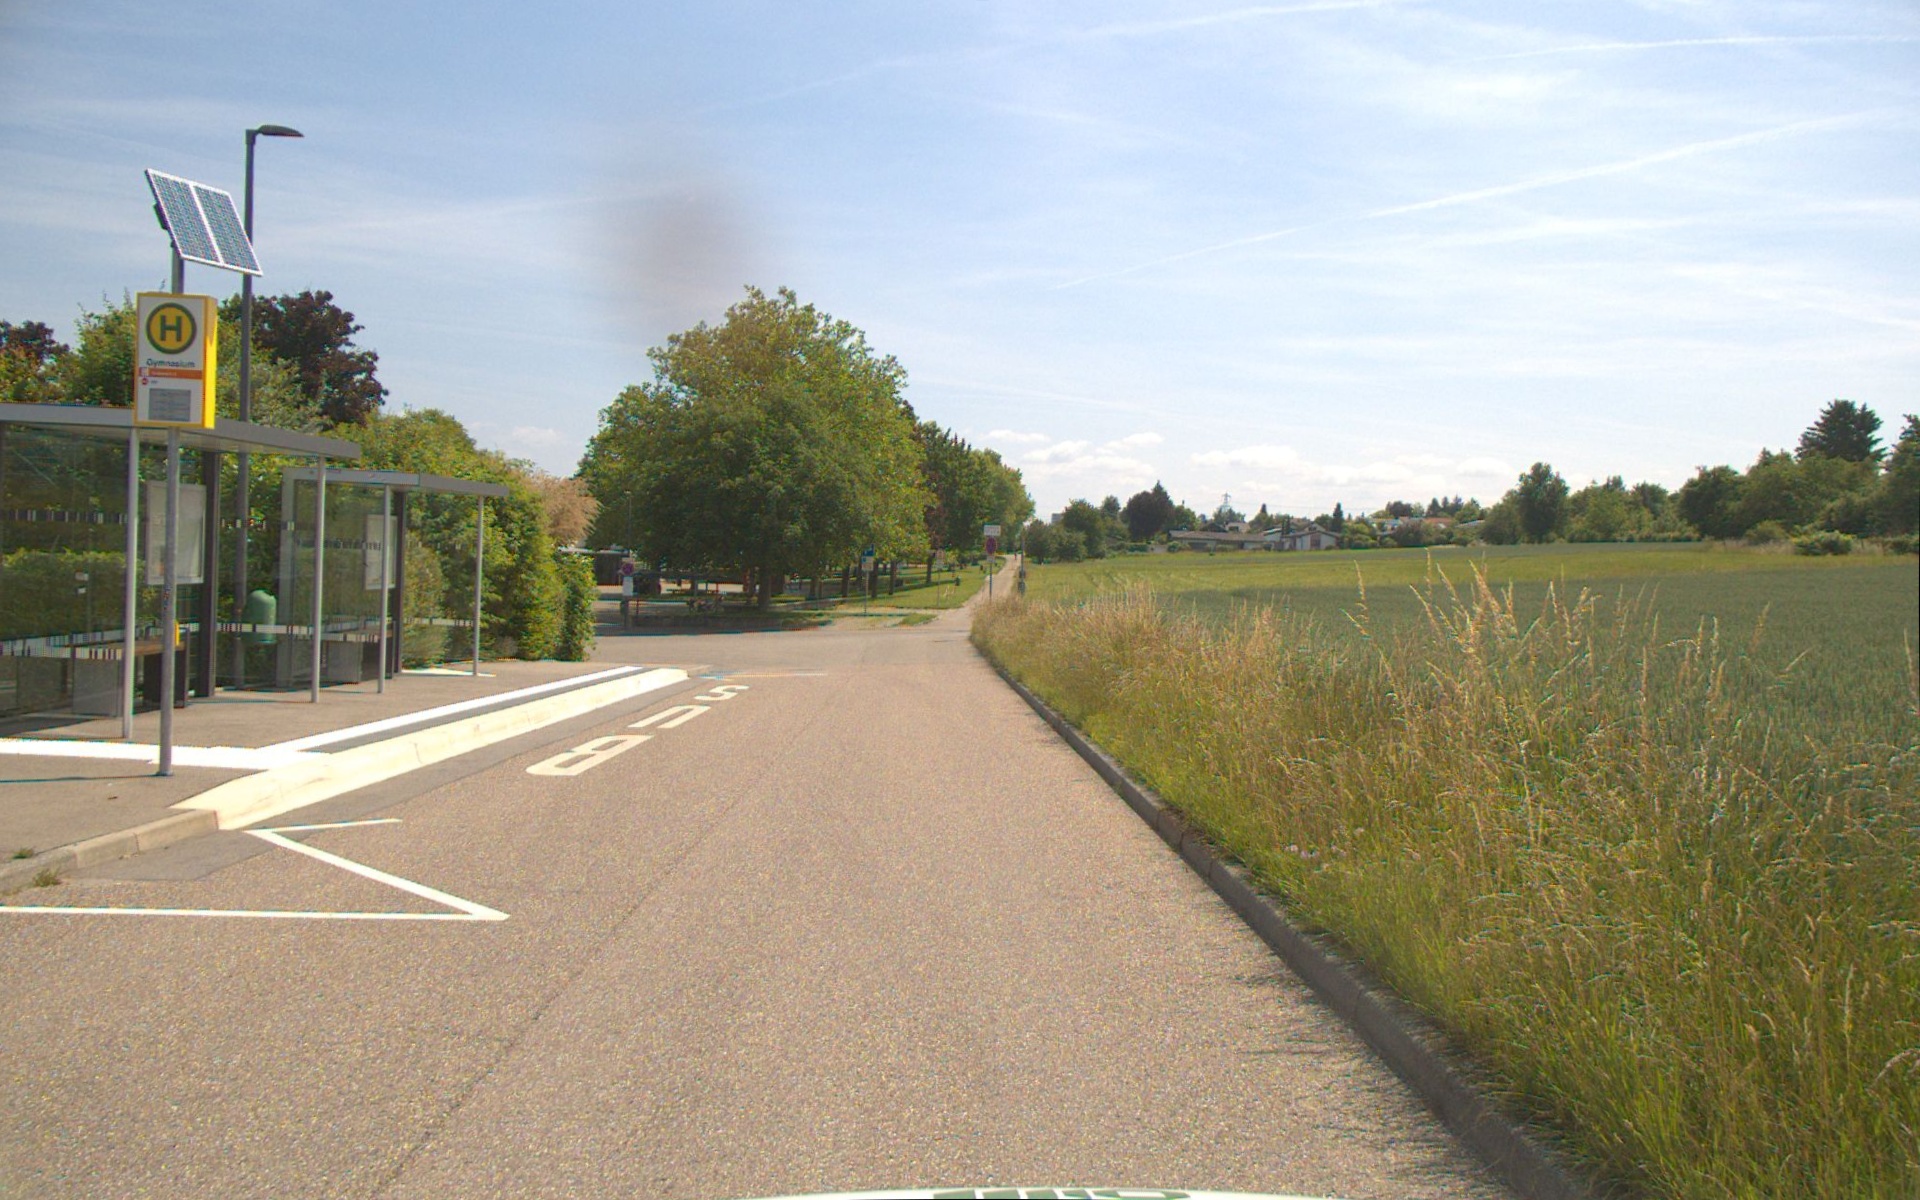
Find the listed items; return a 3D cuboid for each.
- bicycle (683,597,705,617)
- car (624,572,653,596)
[{"bbox_3d":[-14.744,0.376,91.716,0.582,1.057,1.894,0,1,9],"label":"bicycle"},{"bbox_3d":[-25.393,-1.300,130.843,1.656,1.866,3.411,0,1,0],"label":"car"}]
